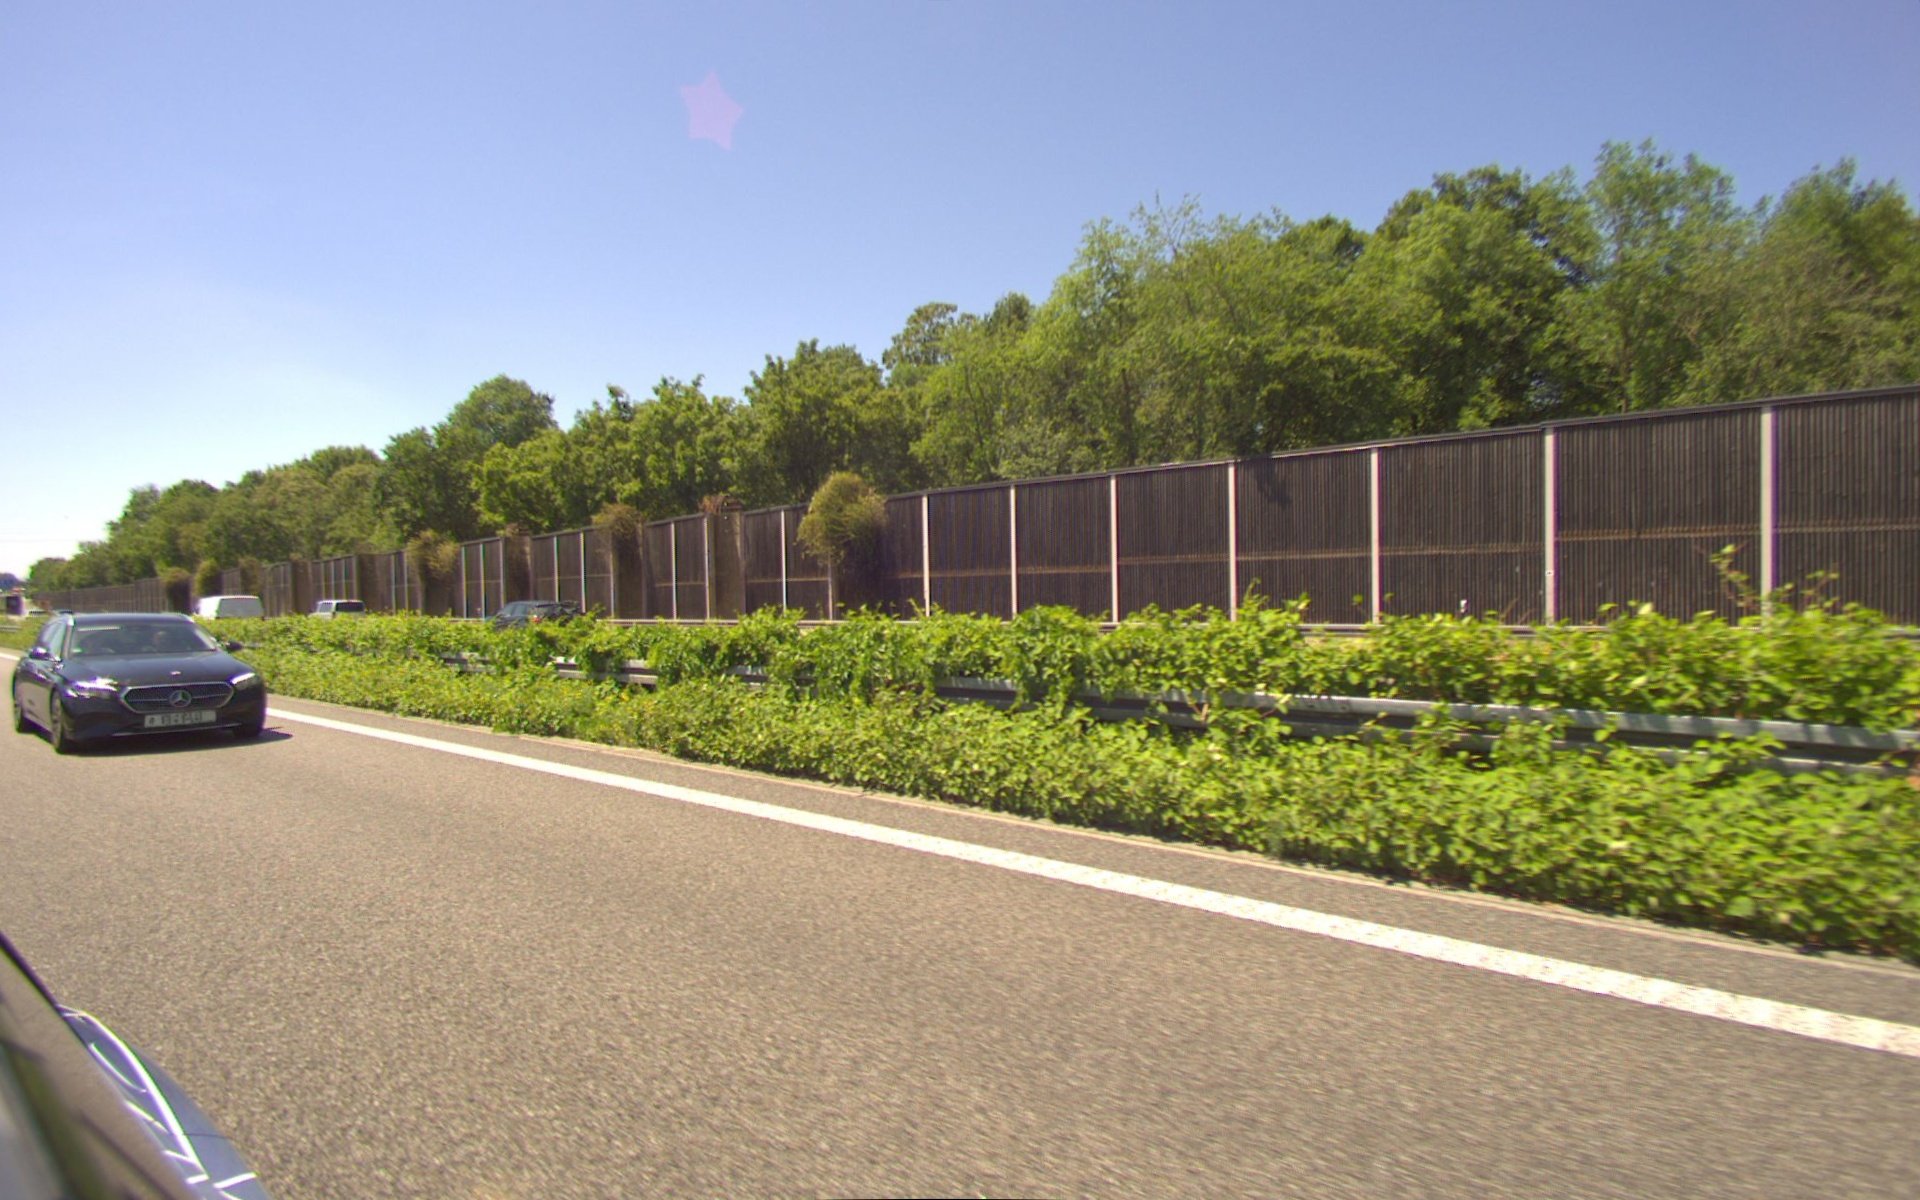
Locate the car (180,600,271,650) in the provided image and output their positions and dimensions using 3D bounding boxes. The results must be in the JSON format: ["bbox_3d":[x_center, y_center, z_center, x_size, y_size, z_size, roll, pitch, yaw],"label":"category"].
[{"bbox_3d":[-31.760,1.053,43.700,5.342,2.029,1.973,-1,0,40],"label":"car"}]

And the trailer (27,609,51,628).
[{"bbox_3d":[-140.020,2.882,153.832,6.509,2.797,2.218,-1,0,43],"label":"trailer"}]

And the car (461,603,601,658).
[{"bbox_3d":[-14.285,0.973,33.506,5.582,1.656,1.973,-1,0,40],"label":"car"}]

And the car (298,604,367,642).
[{"bbox_3d":[-36.233,1.315,58.390,5.383,2.029,1.972,-1,0,42],"label":"car"}]

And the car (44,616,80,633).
[{"bbox_3d":[-90.756,2.504,102.288,4.687,1.660,1.974,-1,-1,39],"label":"car"}]

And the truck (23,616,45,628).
[{"bbox_3d":[-144.684,3.468,158.165,6.211,1.830,2.078,-1,0,43],"label":"truck"}]

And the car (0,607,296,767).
[{"bbox_3d":[-10.176,0.885,12.379,5.817,1.518,1.923,-1,0,41],"label":"car"}]

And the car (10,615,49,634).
[{"bbox_3d":[-83.235,2.205,90.530,5.042,1.660,1.973,-1,-1,41],"label":"car"}]
